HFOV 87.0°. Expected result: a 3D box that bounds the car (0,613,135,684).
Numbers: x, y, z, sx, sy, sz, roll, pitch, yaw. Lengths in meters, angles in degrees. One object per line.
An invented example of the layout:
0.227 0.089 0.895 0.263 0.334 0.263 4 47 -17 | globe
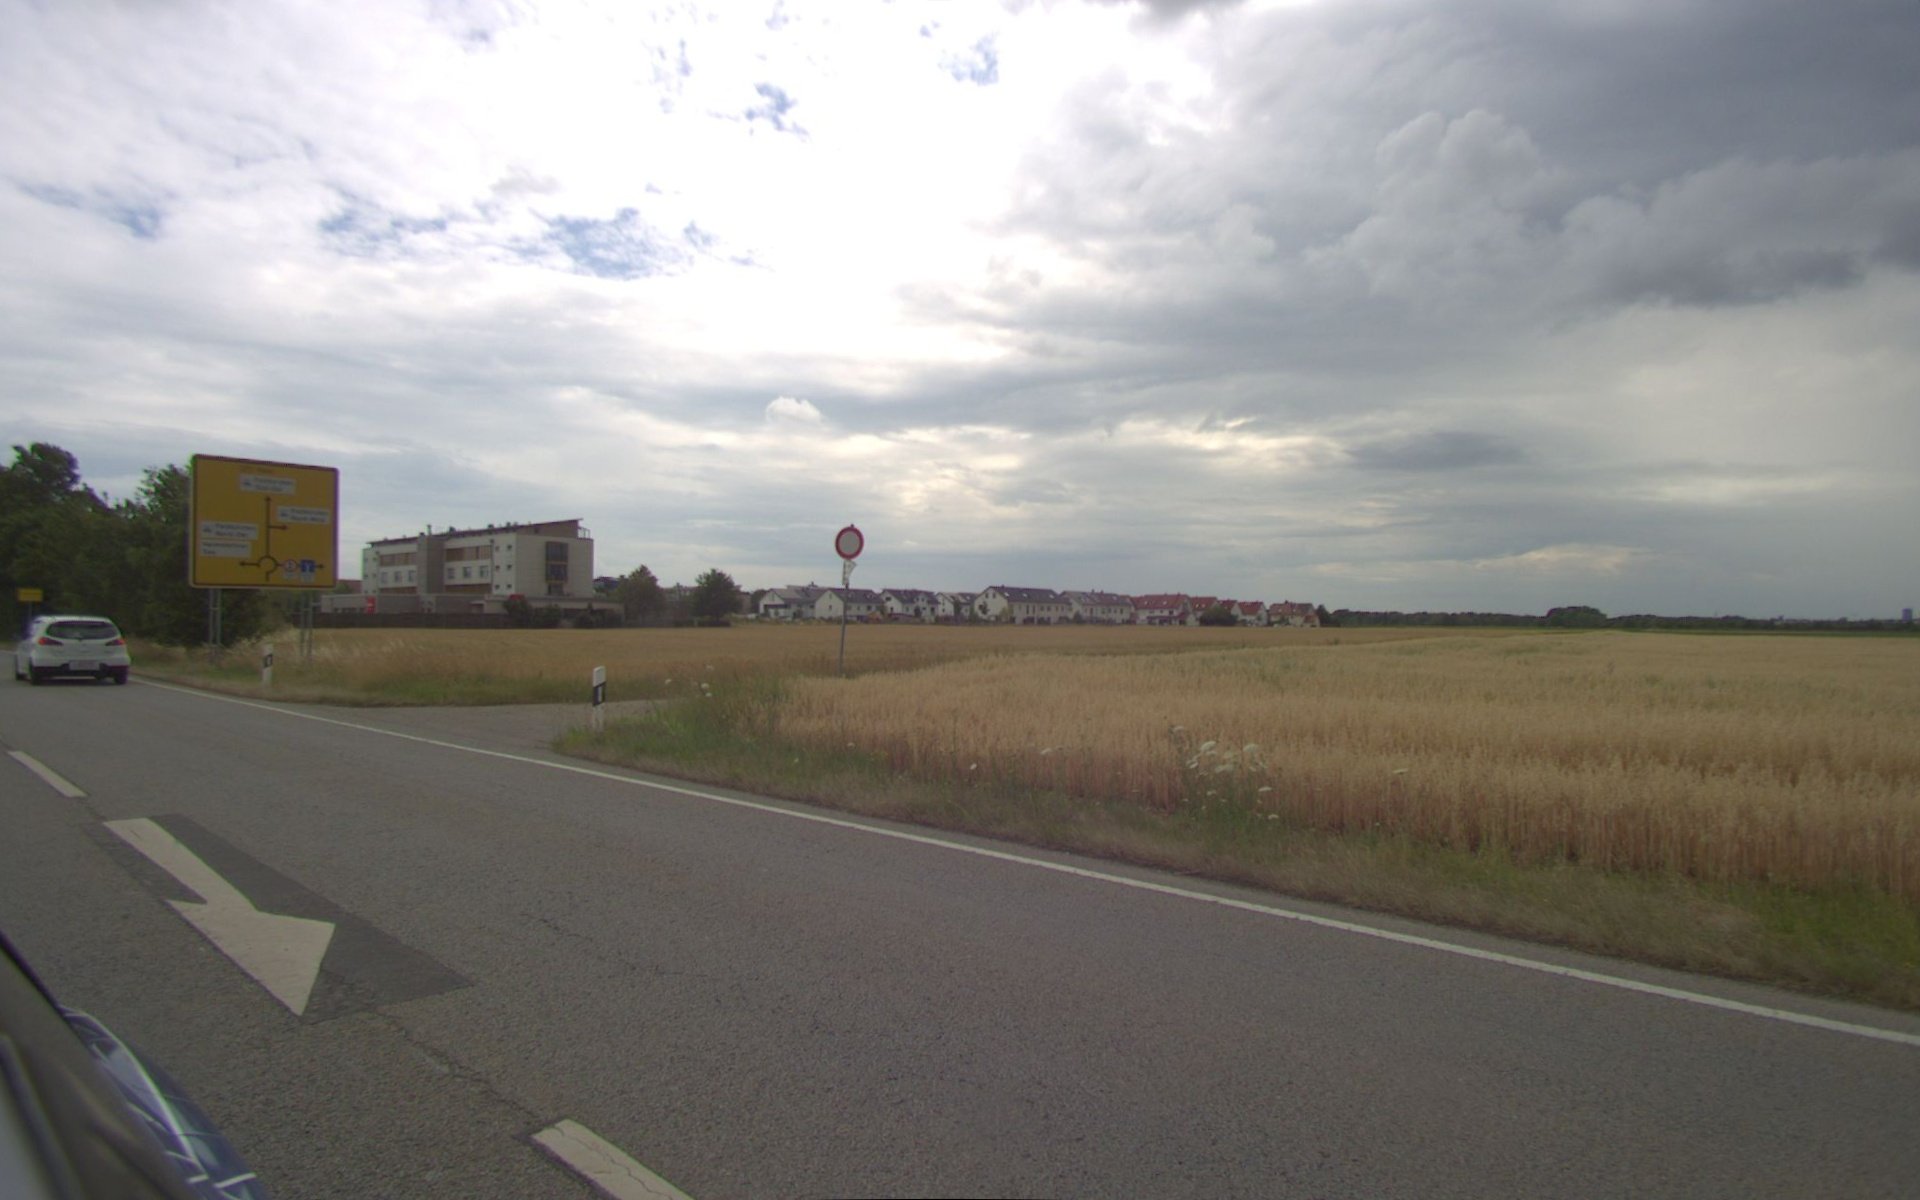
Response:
-20.491 1.056 23.187 4.112 1.468 1.787 -1 -2 41 | car
